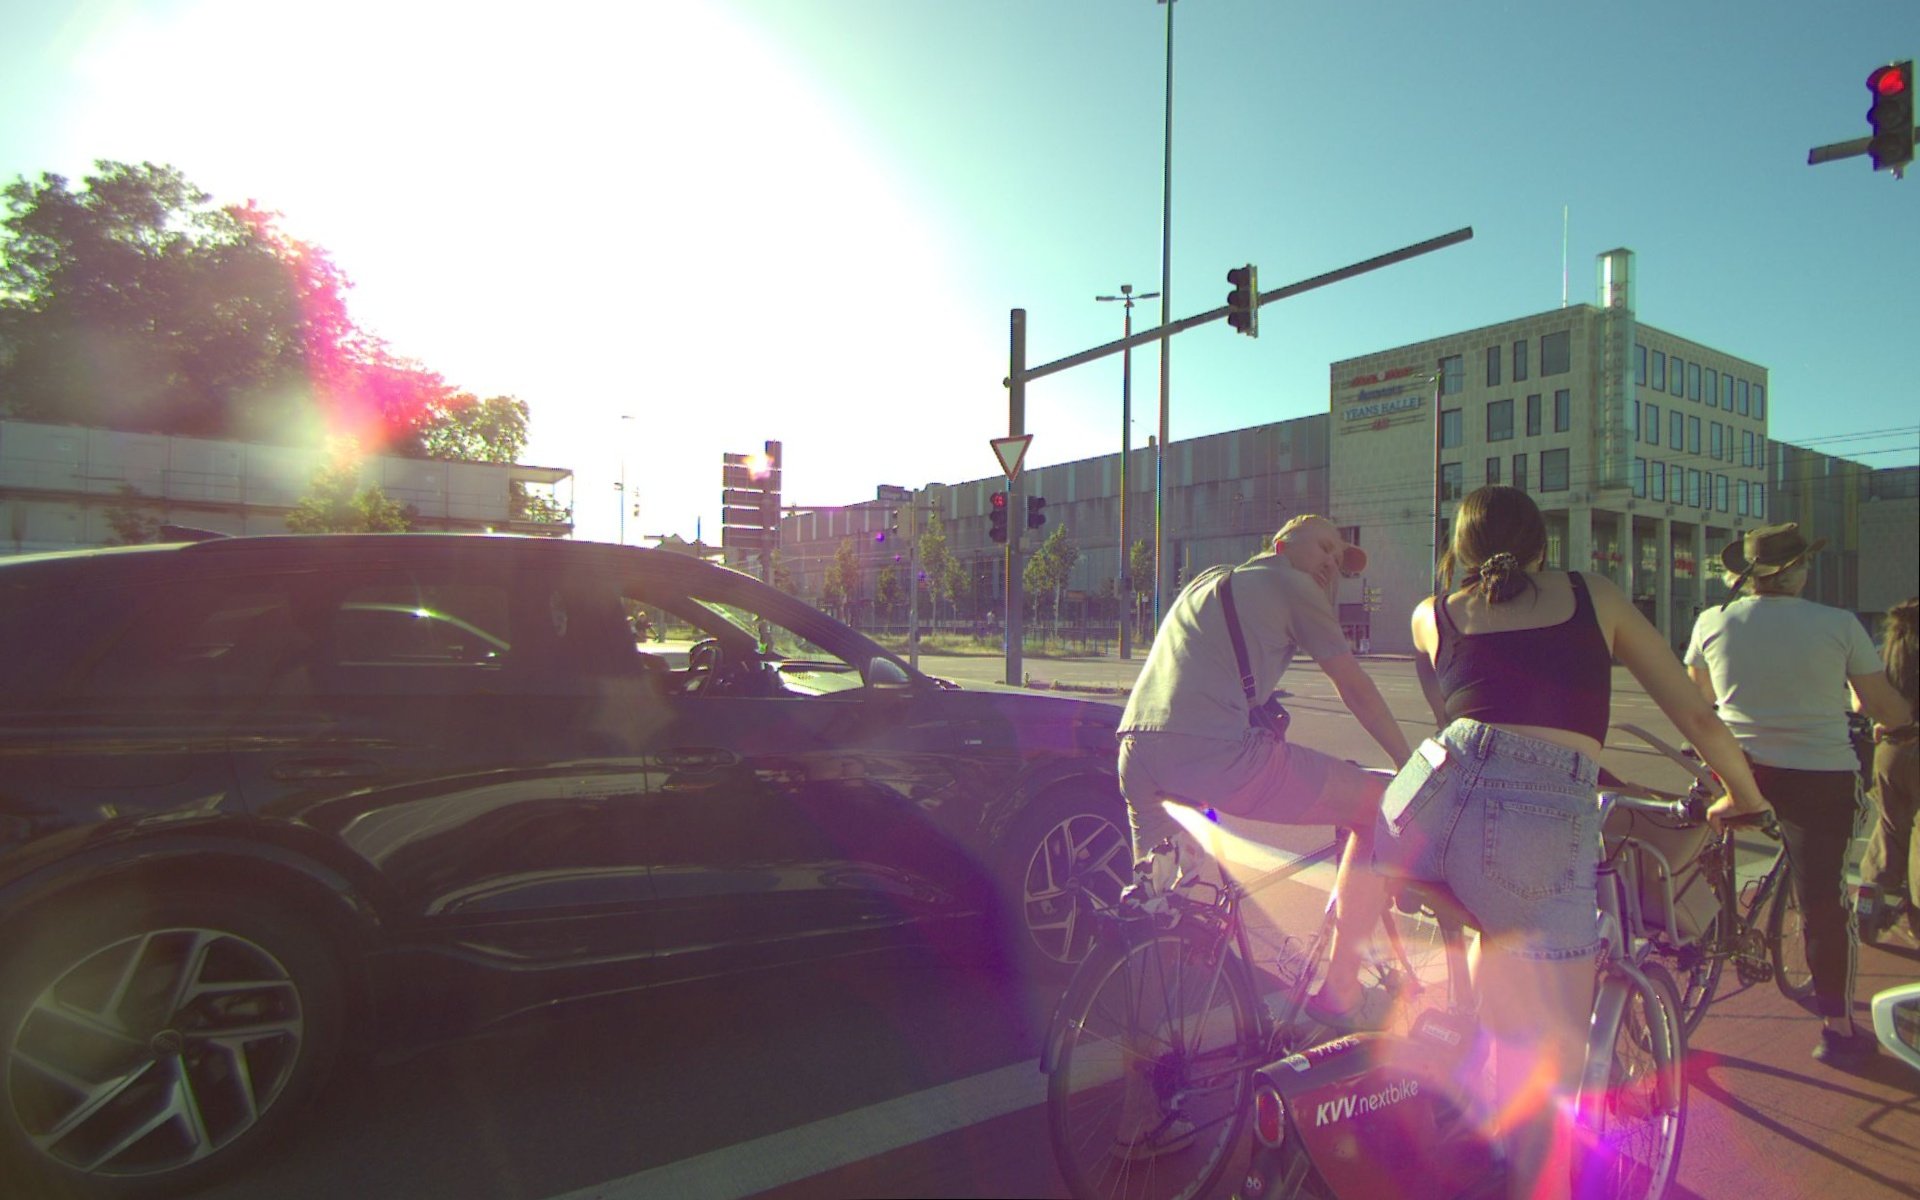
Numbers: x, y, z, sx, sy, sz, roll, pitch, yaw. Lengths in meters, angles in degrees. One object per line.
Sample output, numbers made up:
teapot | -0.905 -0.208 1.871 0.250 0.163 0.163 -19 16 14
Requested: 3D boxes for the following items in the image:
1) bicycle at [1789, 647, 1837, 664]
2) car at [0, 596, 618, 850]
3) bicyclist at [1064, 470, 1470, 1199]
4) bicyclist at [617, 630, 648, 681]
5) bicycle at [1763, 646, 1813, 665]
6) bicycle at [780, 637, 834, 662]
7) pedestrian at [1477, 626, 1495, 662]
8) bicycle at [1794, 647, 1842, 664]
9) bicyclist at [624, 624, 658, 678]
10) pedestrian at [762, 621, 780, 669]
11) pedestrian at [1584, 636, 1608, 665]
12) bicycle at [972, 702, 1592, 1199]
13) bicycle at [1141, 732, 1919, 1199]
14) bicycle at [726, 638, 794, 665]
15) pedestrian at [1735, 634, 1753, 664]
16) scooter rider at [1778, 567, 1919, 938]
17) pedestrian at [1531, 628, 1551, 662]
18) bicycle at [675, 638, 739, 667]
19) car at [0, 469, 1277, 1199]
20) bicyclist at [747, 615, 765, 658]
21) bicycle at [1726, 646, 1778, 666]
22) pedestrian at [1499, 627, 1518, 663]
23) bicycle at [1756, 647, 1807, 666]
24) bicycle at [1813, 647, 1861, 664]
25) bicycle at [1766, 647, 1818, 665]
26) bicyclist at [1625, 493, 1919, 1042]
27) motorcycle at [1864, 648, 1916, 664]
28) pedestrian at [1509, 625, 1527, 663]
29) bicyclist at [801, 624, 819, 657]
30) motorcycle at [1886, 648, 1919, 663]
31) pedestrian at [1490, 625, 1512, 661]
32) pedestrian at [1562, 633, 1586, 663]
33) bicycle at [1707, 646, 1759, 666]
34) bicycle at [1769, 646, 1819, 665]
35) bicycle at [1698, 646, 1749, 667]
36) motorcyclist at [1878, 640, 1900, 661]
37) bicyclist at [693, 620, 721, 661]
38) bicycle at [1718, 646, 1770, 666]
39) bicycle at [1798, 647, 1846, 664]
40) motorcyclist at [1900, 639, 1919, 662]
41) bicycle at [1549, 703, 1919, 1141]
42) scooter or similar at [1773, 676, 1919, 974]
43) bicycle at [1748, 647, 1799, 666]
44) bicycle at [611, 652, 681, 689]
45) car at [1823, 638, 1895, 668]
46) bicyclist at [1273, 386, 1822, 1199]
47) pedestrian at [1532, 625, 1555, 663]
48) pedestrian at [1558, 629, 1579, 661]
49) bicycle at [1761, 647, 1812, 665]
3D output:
bicycle | 58.455 3.793 68.885 0.652 1.125 2.458 1 -2 -28
car | -4.794 0.697 6.727 4.474 1.370 1.762 2 -1 -31
bicyclist | 0.822 0.526 2.706 0.884 1.596 0.620 1 -1 -31
bicyclist | -9.378 1.576 28.759 0.830 1.420 0.802 0 0 -20
bicycle | 54.440 3.648 66.094 0.675 1.125 2.458 1 -2 -28
bicycle | -6.016 1.925 39.492 2.042 0.939 0.803 0 0 -14
pedestrian | 32.251 2.680 61.560 0.883 2.152 0.944 0 -1 34
bicycle | 59.121 3.820 69.248 0.652 1.125 2.458 1 -2 -28
bicyclist | -9.437 1.497 29.720 0.927 1.565 0.646 0 -1 -19
pedestrian | -6.455 1.526 34.234 0.446 1.587 0.516 1 -1 -30
pedestrian | 35.693 2.845 56.416 0.927 1.592 0.842 1 -1 16
bicycle | 0.958 0.900 2.784 1.795 1.131 0.620 1 -1 -31
bicycle | 1.269 0.904 2.108 1.780 1.108 0.647 1 -1 -32
bicycle | -7.172 1.851 35.986 2.353 0.953 0.754 1 -1 -13
pedestrian | 54.291 3.385 69.530 0.933 2.008 1.004 0 -1 36
scooter rider | 4.432 0.655 4.684 1.105 1.564 0.638 1 0 -33
pedestrian | 34.541 2.668 59.724 0.900 2.040 1.023 0 -1 26
bicycle | -8.677 1.795 34.466 2.048 0.939 0.801 0 -1 -25
car | -1.159 0.611 4.096 4.740 1.684 2.182 1 -1 -33
bicyclist | -7.293 1.301 35.958 0.607 1.525 0.754 1 -1 -12
bicycle | 48.745 3.440 61.842 0.675 1.125 2.458 1 -2 -28
pedestrian | 33.148 2.701 60.712 0.884 2.152 0.943 0 -1 39
bicycle | 52.560 3.584 64.279 0.675 1.125 2.458 1 -2 -28
bicycle | 61.255 3.872 70.217 0.652 1.125 2.458 1 -2 -28
bicycle | 54.017 3.624 65.255 0.824 1.125 2.458 1 -2 -28
bicyclist | 2.960 0.527 3.607 0.777 1.691 0.695 1 -1 -32
motorcycle | 67.666 4.067 73.070 0.908 1.009 2.649 2 0 -36
pedestrian | 32.482 2.553 58.487 0.881 2.152 0.946 0 -1 26
bicyclist | -5.911 1.582 39.534 0.627 1.287 0.803 0 0 -14
motorcycle | 70.686 4.166 74.647 0.908 1.009 2.649 2 0 -36
pedestrian | 32.339 2.557 60.056 0.939 2.152 0.888 2 -1 -40
pedestrian | 35.576 2.760 58.177 0.988 1.672 0.949 1 -1 18
bicycle | 46.830 3.403 60.866 0.676 1.125 2.457 1 -2 -29
bicycle | 55.457 3.683 66.807 0.824 1.125 2.458 1 -2 -28
bicycle | 45.698 3.370 60.166 0.650 1.127 2.391 1 -2 -29
motorcyclist | 67.620 3.662 73.129 0.908 1.490 1.029 2 0 -37
bicyclist | -8.682 1.373 34.469 0.830 1.375 0.801 0 0 -24
bicycle | 48.011 3.431 61.517 0.675 1.125 2.459 1 -2 -27
bicycle | 59.827 3.852 69.752 0.623 1.125 2.458 1 -2 -28
motorcyclist | 70.721 3.735 74.633 0.908 1.596 1.129 2 0 -37
bicycle | 2.933 0.978 3.579 1.780 1.108 0.703 1 -1 -32
scooter or similar | 4.562 0.993 4.790 1.468 1.191 0.638 1 0 -33
bicycle | 51.523 3.549 63.653 0.586 1.125 2.458 1 -2 -28
bicycle | -9.289 2.075 29.759 1.948 1.010 0.646 0 -1 -19
car | 49.840 2.902 55.677 4.247 1.602 1.927 1 -2 -32
bicyclist | 1.184 0.461 2.054 0.837 1.563 0.647 1 -1 -31
pedestrian | 33.841 2.561 58.284 1.043 2.157 1.097 0 -1 24
pedestrian | 38.804 2.871 64.080 1.016 2.040 0.906 2 -1 -42
bicycle | 53.314 3.601 64.796 0.675 1.125 2.458 1 -2 -28
